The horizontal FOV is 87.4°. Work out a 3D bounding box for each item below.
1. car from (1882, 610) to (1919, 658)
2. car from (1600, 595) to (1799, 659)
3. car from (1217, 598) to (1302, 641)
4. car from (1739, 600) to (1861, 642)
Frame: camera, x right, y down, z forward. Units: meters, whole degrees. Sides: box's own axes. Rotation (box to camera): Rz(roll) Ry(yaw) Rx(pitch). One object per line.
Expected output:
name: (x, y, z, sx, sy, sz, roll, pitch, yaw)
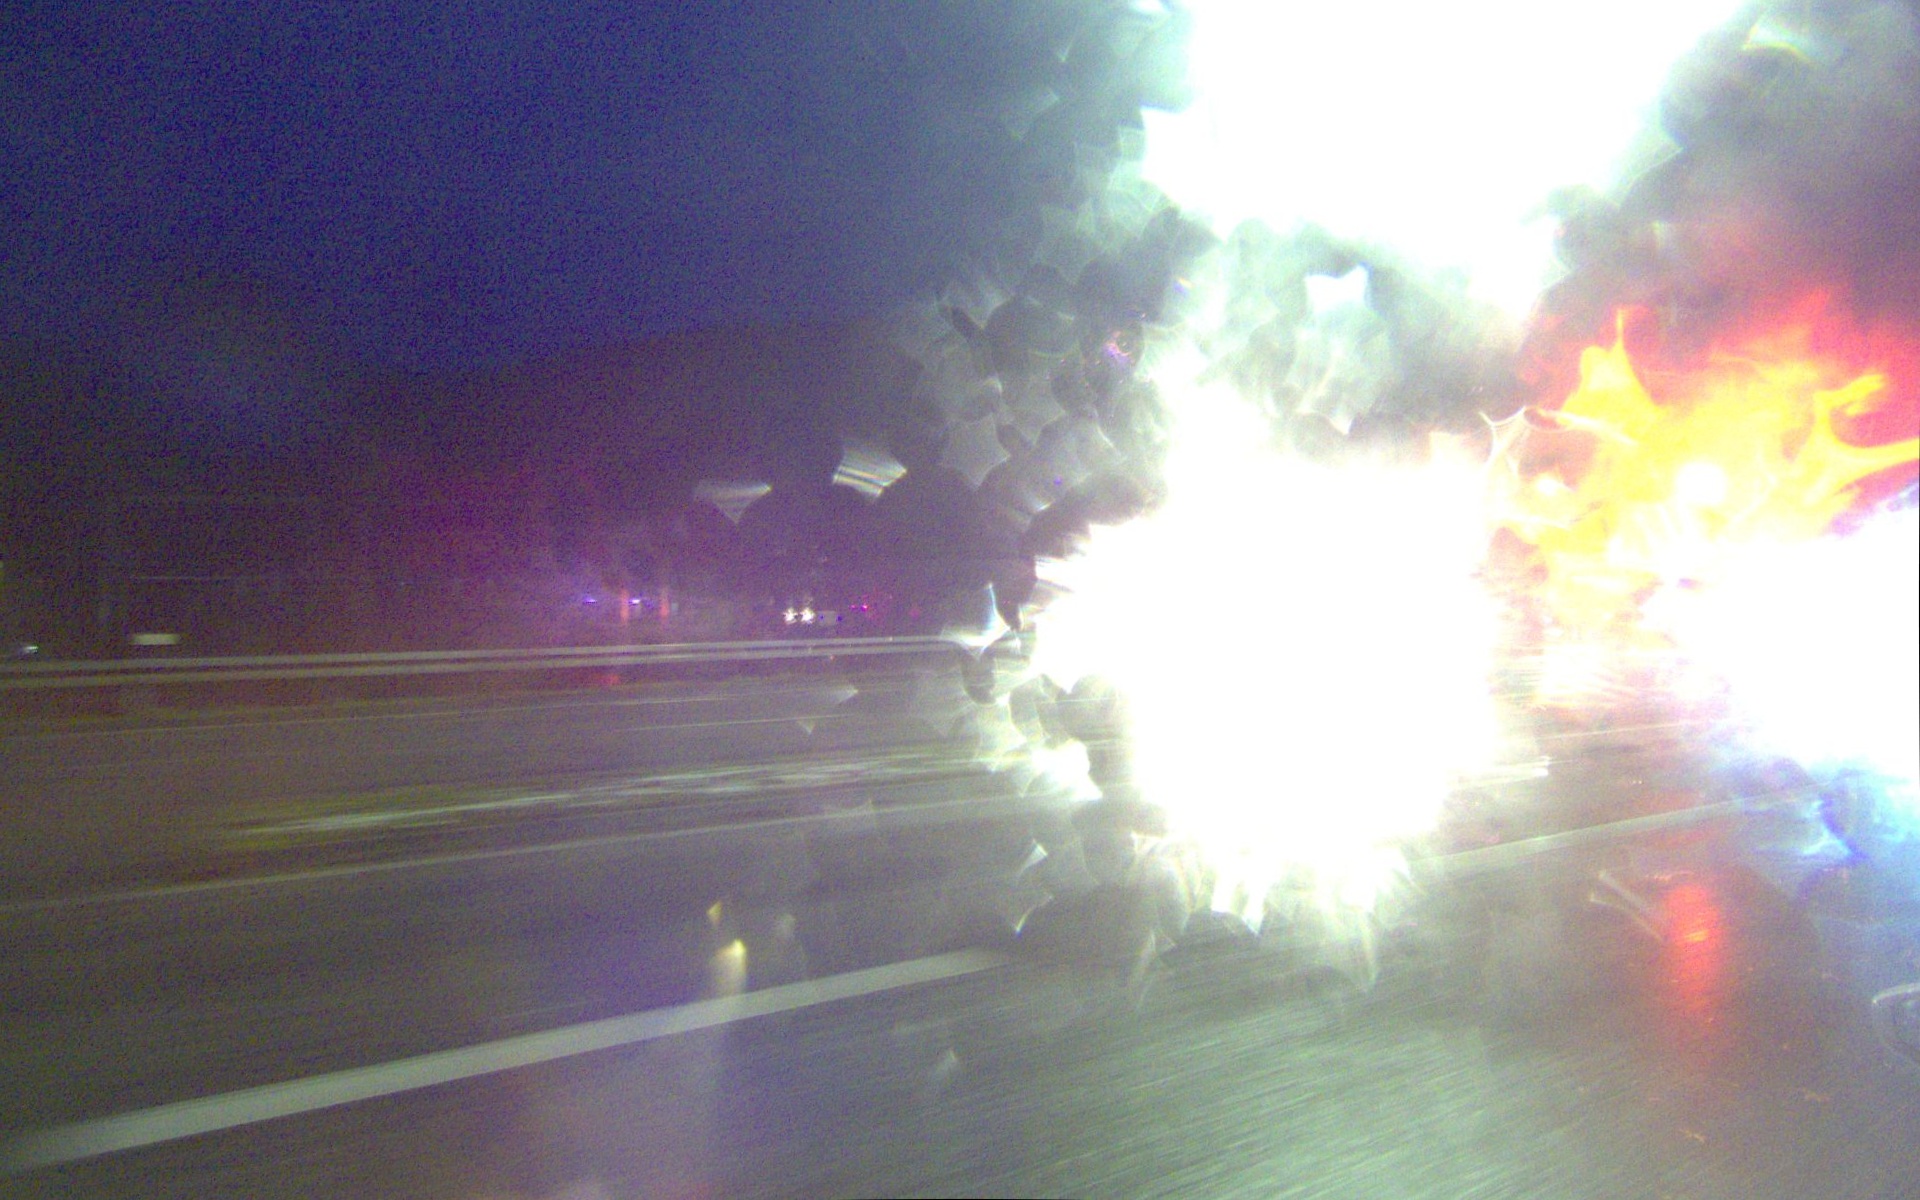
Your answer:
car: (34.259, 1.186, 34.936, 4.854, 1.592, 1.784, 1, 0, -29)
car: (20.710, 0.708, 28.298, 1.977, 1.632, 4.069, 2, 0, -30)
car: (12.416, 0.775, 41.945, 1.681, 1.675, 4.502, 2, 0, -8)
car: (38.367, 0.933, 45.997, 3.924, 1.856, 1.720, 0, 0, 25)
